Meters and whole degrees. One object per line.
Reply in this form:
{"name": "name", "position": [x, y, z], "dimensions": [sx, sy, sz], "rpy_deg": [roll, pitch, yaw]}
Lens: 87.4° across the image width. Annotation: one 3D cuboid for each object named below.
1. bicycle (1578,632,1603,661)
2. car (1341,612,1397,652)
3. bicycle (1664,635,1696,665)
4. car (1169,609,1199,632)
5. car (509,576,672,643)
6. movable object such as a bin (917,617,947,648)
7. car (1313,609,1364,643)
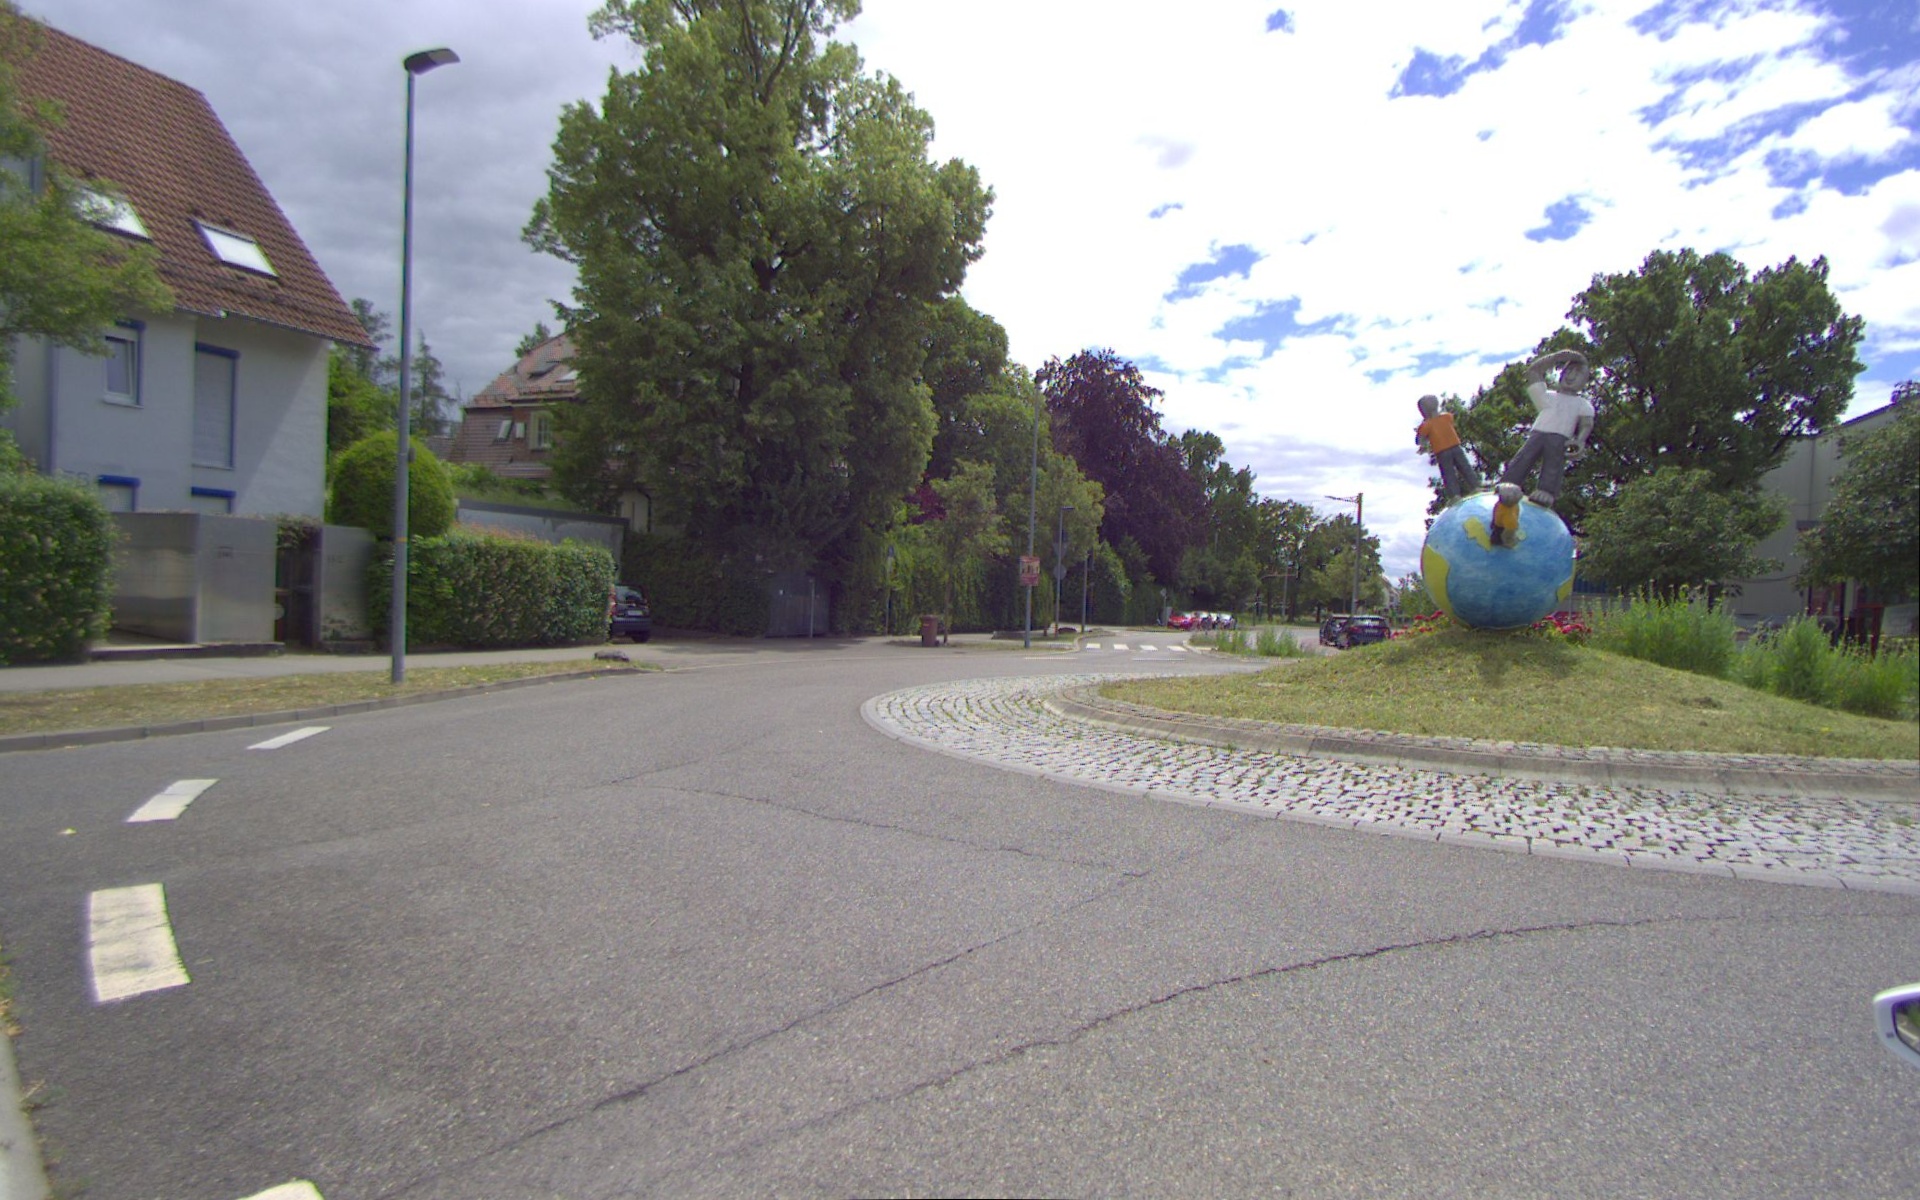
{"name": "bicycle", "position": [25.474, 1.861, 40.579], "dimensions": [0.621, 1.063, 2.064], "rpy_deg": [5, 2, 36]}
{"name": "car", "position": [18.161, 1.379, 44.496], "dimensions": [1.903, 1.558, 3.920], "rpy_deg": [3, 2, 27]}
{"name": "bicycle", "position": [28.378, 1.968, 39.634], "dimensions": [0.531, 1.063, 1.968], "rpy_deg": [5, 2, 23]}
{"name": "car", "position": [16.476, 1.472, 73.698], "dimensions": [2.028, 1.405, 4.049], "rpy_deg": [3, 2, 14]}
{"name": "car", "position": [-9.356, 0.205, 25.360], "dimensions": [3.935, 1.506, 1.993], "rpy_deg": [2, 0, 36]}
{"name": "movable object such as a bin", "position": [-0.834, 0.946, 29.688], "dimensions": [0.621, 0.874, 0.638], "rpy_deg": [1, 0, 34]}
{"name": "car", "position": [19.631, 1.318, 52.234], "dimensions": [1.886, 1.521, 3.926], "rpy_deg": [3, 2, 12]}
